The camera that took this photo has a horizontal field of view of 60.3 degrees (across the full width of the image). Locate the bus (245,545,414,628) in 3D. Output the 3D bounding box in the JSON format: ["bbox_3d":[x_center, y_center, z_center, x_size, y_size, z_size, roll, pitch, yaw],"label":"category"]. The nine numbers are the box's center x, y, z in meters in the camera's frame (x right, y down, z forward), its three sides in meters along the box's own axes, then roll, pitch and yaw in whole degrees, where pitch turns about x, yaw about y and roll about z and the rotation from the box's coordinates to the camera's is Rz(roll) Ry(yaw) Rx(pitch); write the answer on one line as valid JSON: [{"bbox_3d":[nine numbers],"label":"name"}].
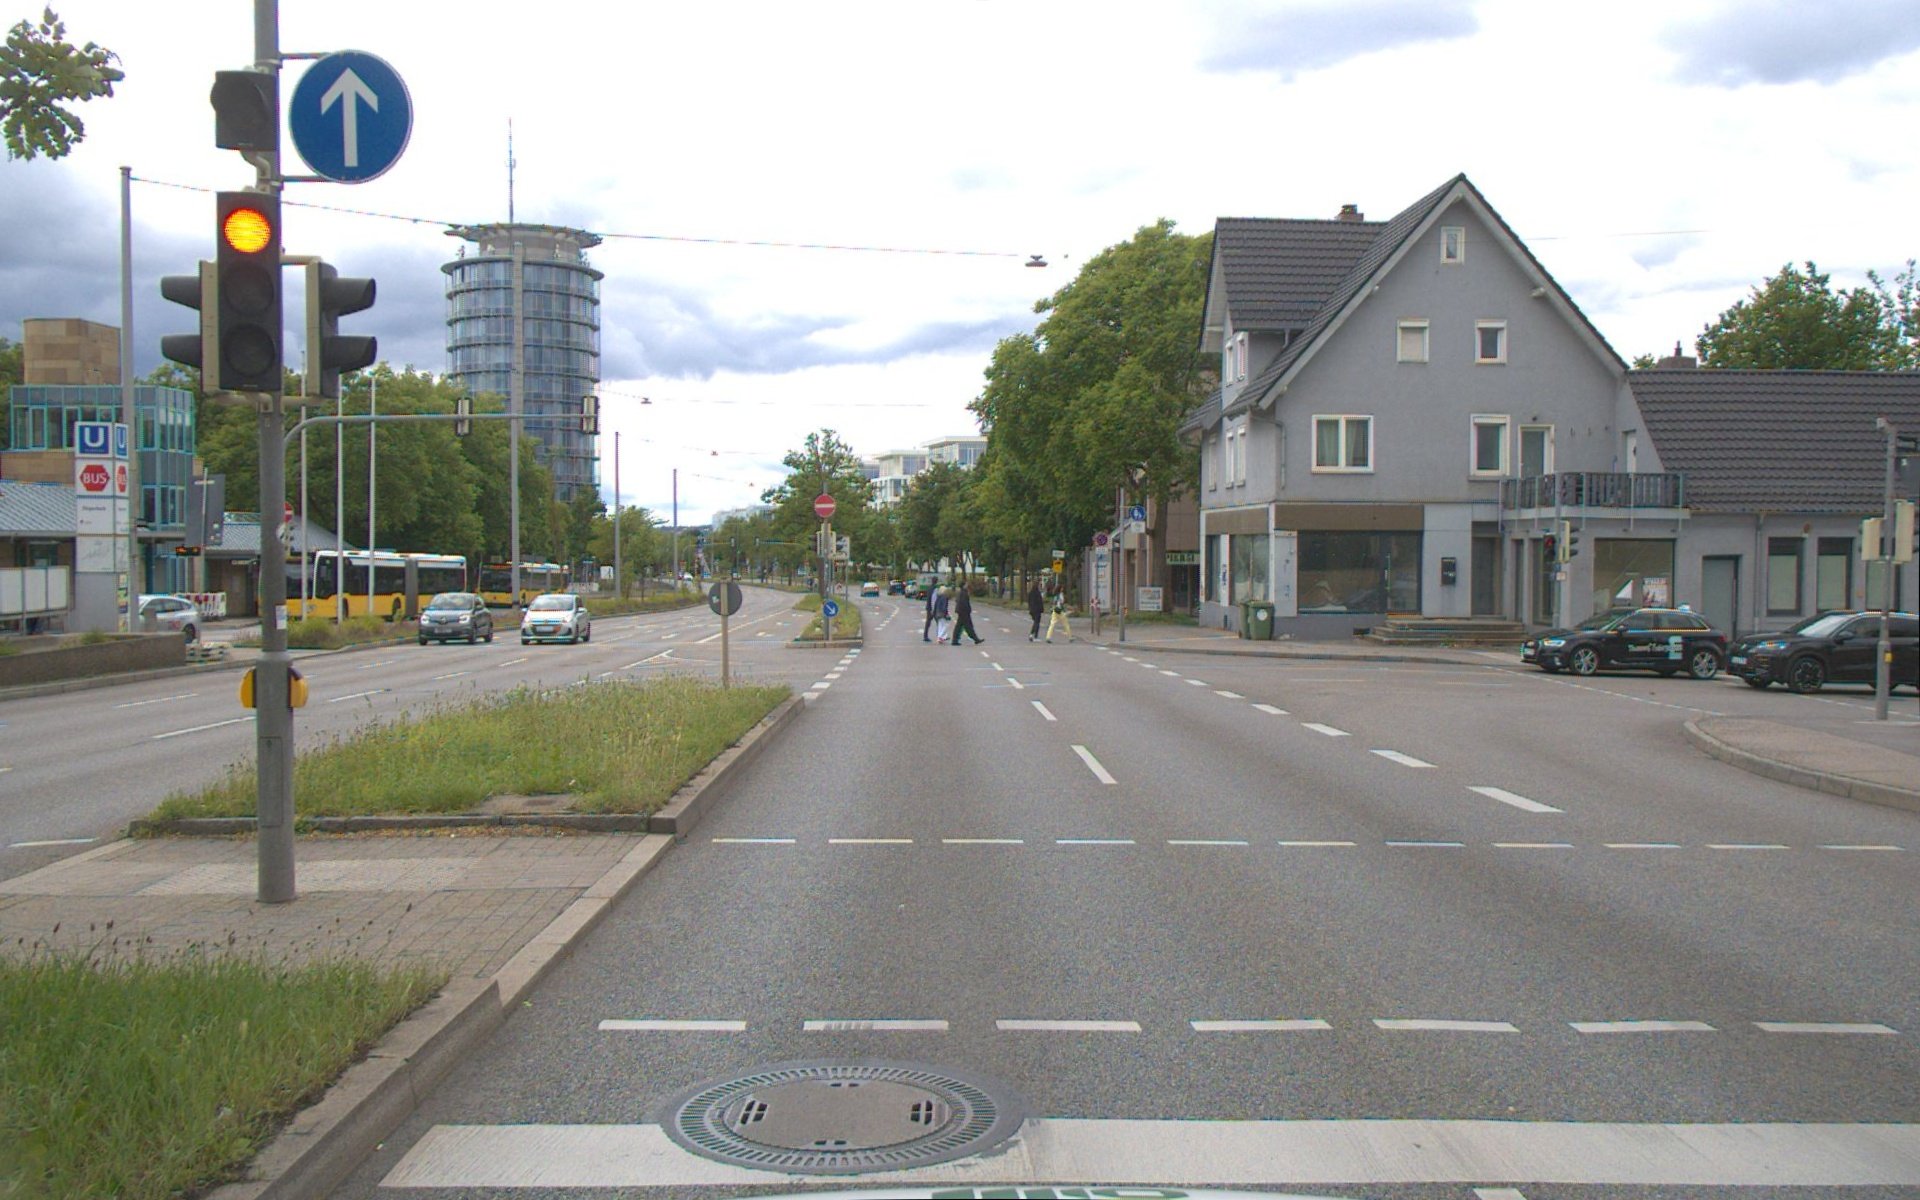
[{"bbox_3d":[-27.084,-0.562,71.691,2.927,3.307,10.174,-1,0,3],"label":"bus"}]

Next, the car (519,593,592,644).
[{"bbox_3d":[-12.364,0.549,50.725,1.651,1.488,3.552,0,0,-5],"label":"car"}]

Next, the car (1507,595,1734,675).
[{"bbox_3d":[13.913,0.727,34.983,4.003,1.520,1.894,2,0,-3],"label":"car"}]

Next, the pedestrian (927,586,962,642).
[{"bbox_3d":[-0.420,0.379,45.572,0.851,1.533,0.706,0,0,-10],"label":"pedestrian"}]

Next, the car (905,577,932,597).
[{"bbox_3d":[-3.853,-1.208,152.416,2.207,1.787,4.927,0,0,-5],"label":"car"}]

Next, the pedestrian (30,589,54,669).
[{"bbox_3d":[-18.677,0.586,33.645,0.414,1.619,0.353,0,0,-30],"label":"pedestrian"}]

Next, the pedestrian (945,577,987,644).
[{"bbox_3d":[0.157,0.282,44.725,1.030,1.791,0.706,0,0,-10],"label":"pedestrian"}]

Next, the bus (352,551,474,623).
[{"bbox_3d":[-26.548,-0.615,80.716,2.927,3.327,7.879,-1,0,3],"label":"bus"}]

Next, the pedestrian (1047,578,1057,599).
[{"bbox_3d":[6.750,-0.843,121.217,0.638,1.597,0.669,0,0,-9],"label":"pedestrian"}]

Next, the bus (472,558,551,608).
[{"bbox_3d":[-30.790,-1.121,114.009,3.082,3.281,10.279,0,0,-3],"label":"bus"}]

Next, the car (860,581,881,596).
[{"bbox_3d":[-9.082,-1.164,167.571,1.929,1.444,4.017,0,0,-6],"label":"car"}]

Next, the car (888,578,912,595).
[{"bbox_3d":[-6.226,-1.387,170.694,2.207,1.676,4.927,0,0,-6],"label":"car"}]

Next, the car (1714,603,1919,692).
[{"bbox_3d":[16.942,0.910,31.867,3.980,1.547,1.839,2,0,-6],"label":"car"}]

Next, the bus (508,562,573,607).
[{"bbox_3d":[-31.153,-1.137,123.008,3.081,3.281,7.762,0,0,-2],"label":"bus"}]

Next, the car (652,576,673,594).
[{"bbox_3d":[-35.920,-1.838,199.739,1.925,2.049,3.999,1,0,-1],"label":"car"}]

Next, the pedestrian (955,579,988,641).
[{"bbox_3d":[0.321,0.288,48.485,0.851,1.811,0.706,0,0,-10],"label":"pedestrian"}]

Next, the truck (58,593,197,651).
[{"bbox_3d":[-23.403,0.575,46.651,1.953,1.544,3.999,0,0,-1],"label":"truck"}]

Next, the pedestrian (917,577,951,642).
[{"bbox_3d":[-0.735,0.260,46.360,0.851,1.811,0.706,0,0,-10],"label":"pedestrian"}]

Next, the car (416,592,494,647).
[{"bbox_3d":[-15.473,0.564,50.813,1.652,1.606,3.344,0,0,-6],"label":"car"}]

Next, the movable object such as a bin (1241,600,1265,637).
[{"bbox_3d":[7.968,0.504,44.953,0.518,0.997,0.736,0,0,-1],"label":"movable object such as a bin"}]

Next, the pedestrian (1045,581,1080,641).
[{"bbox_3d":[2.912,0.318,47.023,0.851,1.691,0.706,0,0,-10],"label":"pedestrian"}]

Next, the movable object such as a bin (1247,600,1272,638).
[{"bbox_3d":[7.998,0.496,44.163,0.518,0.997,0.736,0,0,-1],"label":"movable object such as a bin"}]

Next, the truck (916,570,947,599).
[{"bbox_3d":[-2.455,-1.296,140.079,2.207,2.459,4.927,0,0,-5],"label":"truck"}]

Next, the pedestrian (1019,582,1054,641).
[{"bbox_3d":[2.204,0.328,47.720,0.851,1.691,0.706,0,0,-10],"label":"pedestrian"}]
